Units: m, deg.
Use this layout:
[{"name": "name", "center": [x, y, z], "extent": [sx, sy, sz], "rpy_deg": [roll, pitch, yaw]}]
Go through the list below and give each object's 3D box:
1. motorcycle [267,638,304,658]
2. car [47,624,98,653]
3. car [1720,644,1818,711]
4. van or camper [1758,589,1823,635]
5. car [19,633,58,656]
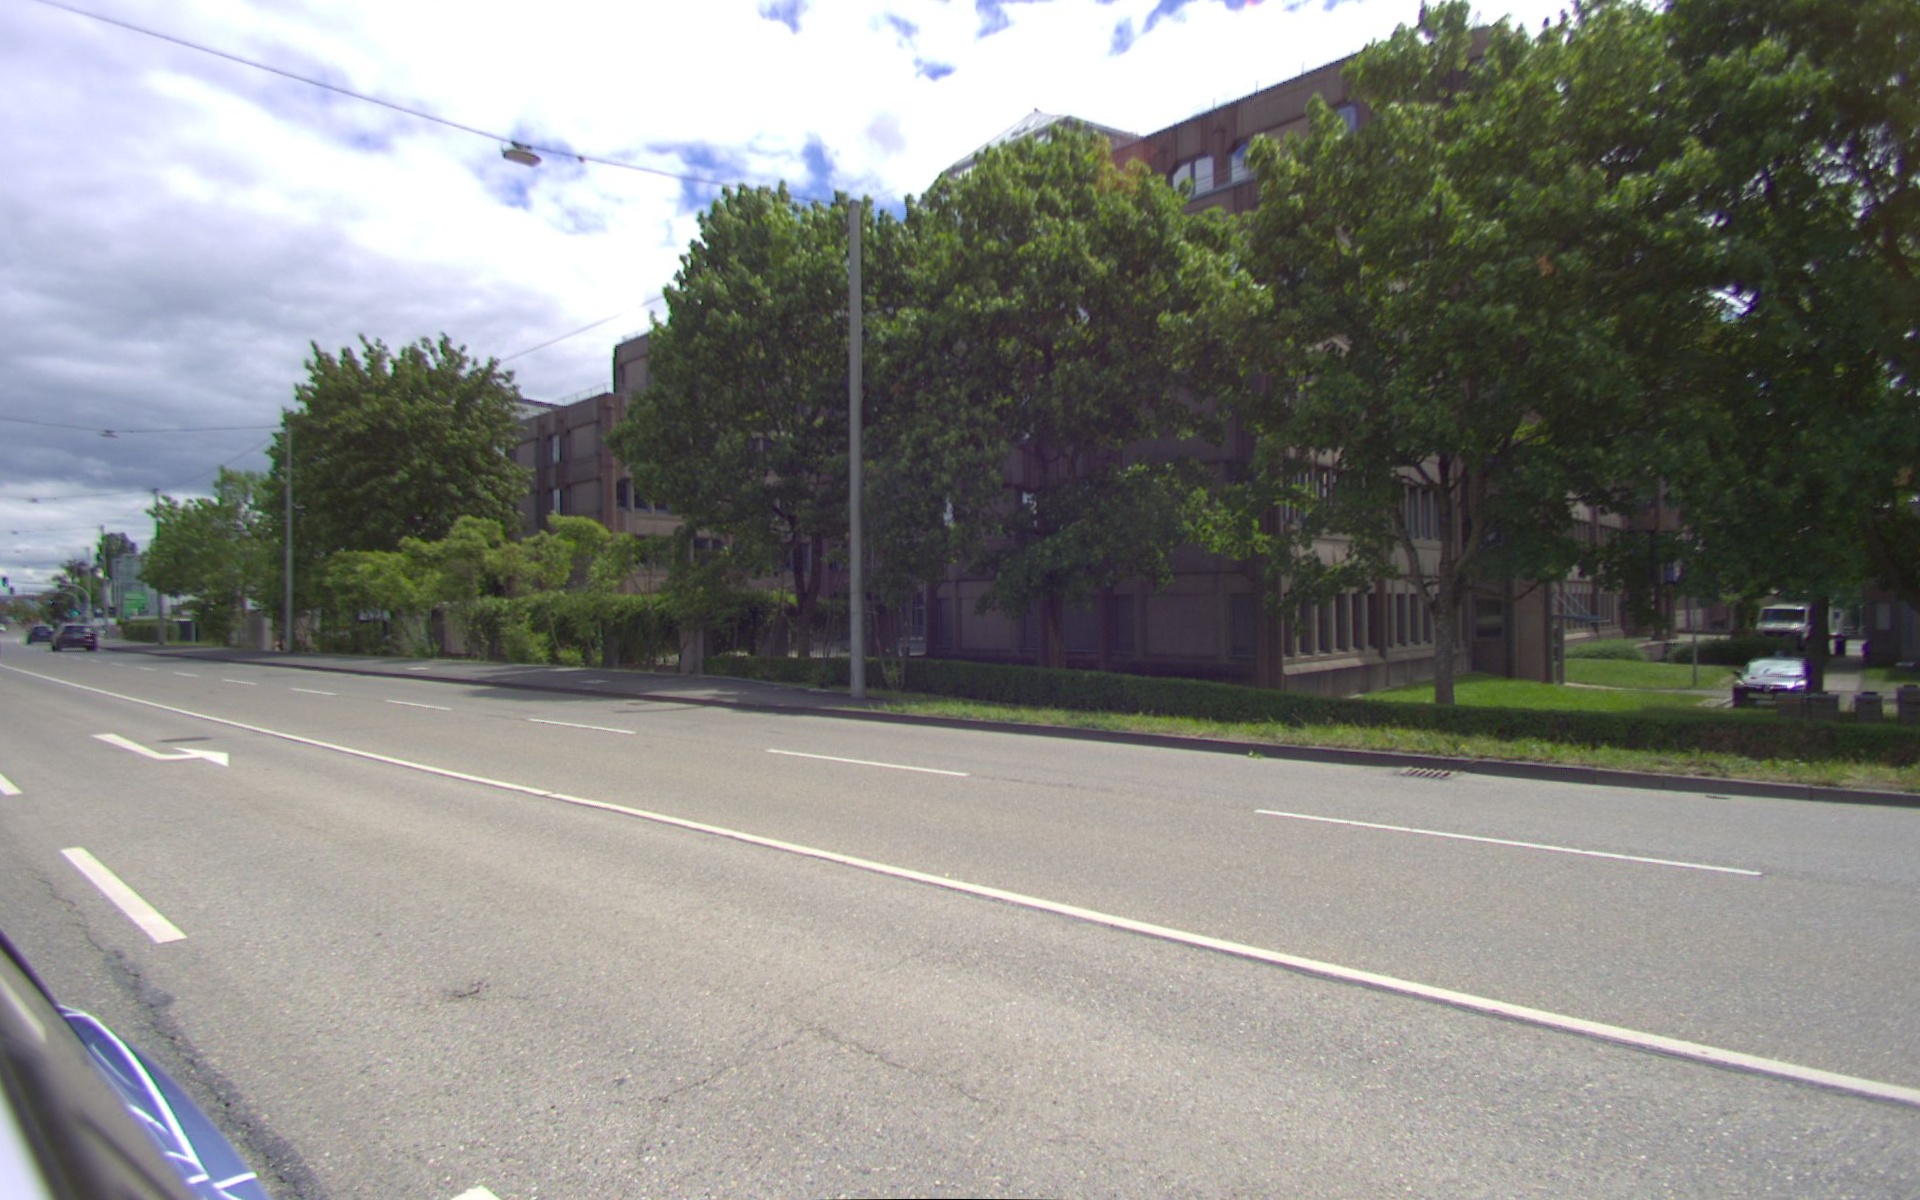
[{"name": "motorcycle", "center": [-43.332, 3.071, 65.039], "extent": [0.745, 1.254, 1.880], "rpy_deg": [-1, -1, 41]}, {"name": "car", "center": [-53.211, 2.277, 60.624], "extent": [4.572, 1.627, 1.847], "rpy_deg": [-1, -1, 43]}, {"name": "car", "center": [22.983, 2.174, 28.716], "extent": [1.787, 1.741, 3.942], "rpy_deg": [-1, -4, 44]}, {"name": "van or camper", "center": [40.477, 0.574, 49.361], "extent": [2.356, 2.120, 5.136], "rpy_deg": [0, 0, 39]}, {"name": "car", "center": [-71.484, 3.419, 78.468], "extent": [4.312, 1.597, 1.777], "rpy_deg": [-1, 0, 42]}]
